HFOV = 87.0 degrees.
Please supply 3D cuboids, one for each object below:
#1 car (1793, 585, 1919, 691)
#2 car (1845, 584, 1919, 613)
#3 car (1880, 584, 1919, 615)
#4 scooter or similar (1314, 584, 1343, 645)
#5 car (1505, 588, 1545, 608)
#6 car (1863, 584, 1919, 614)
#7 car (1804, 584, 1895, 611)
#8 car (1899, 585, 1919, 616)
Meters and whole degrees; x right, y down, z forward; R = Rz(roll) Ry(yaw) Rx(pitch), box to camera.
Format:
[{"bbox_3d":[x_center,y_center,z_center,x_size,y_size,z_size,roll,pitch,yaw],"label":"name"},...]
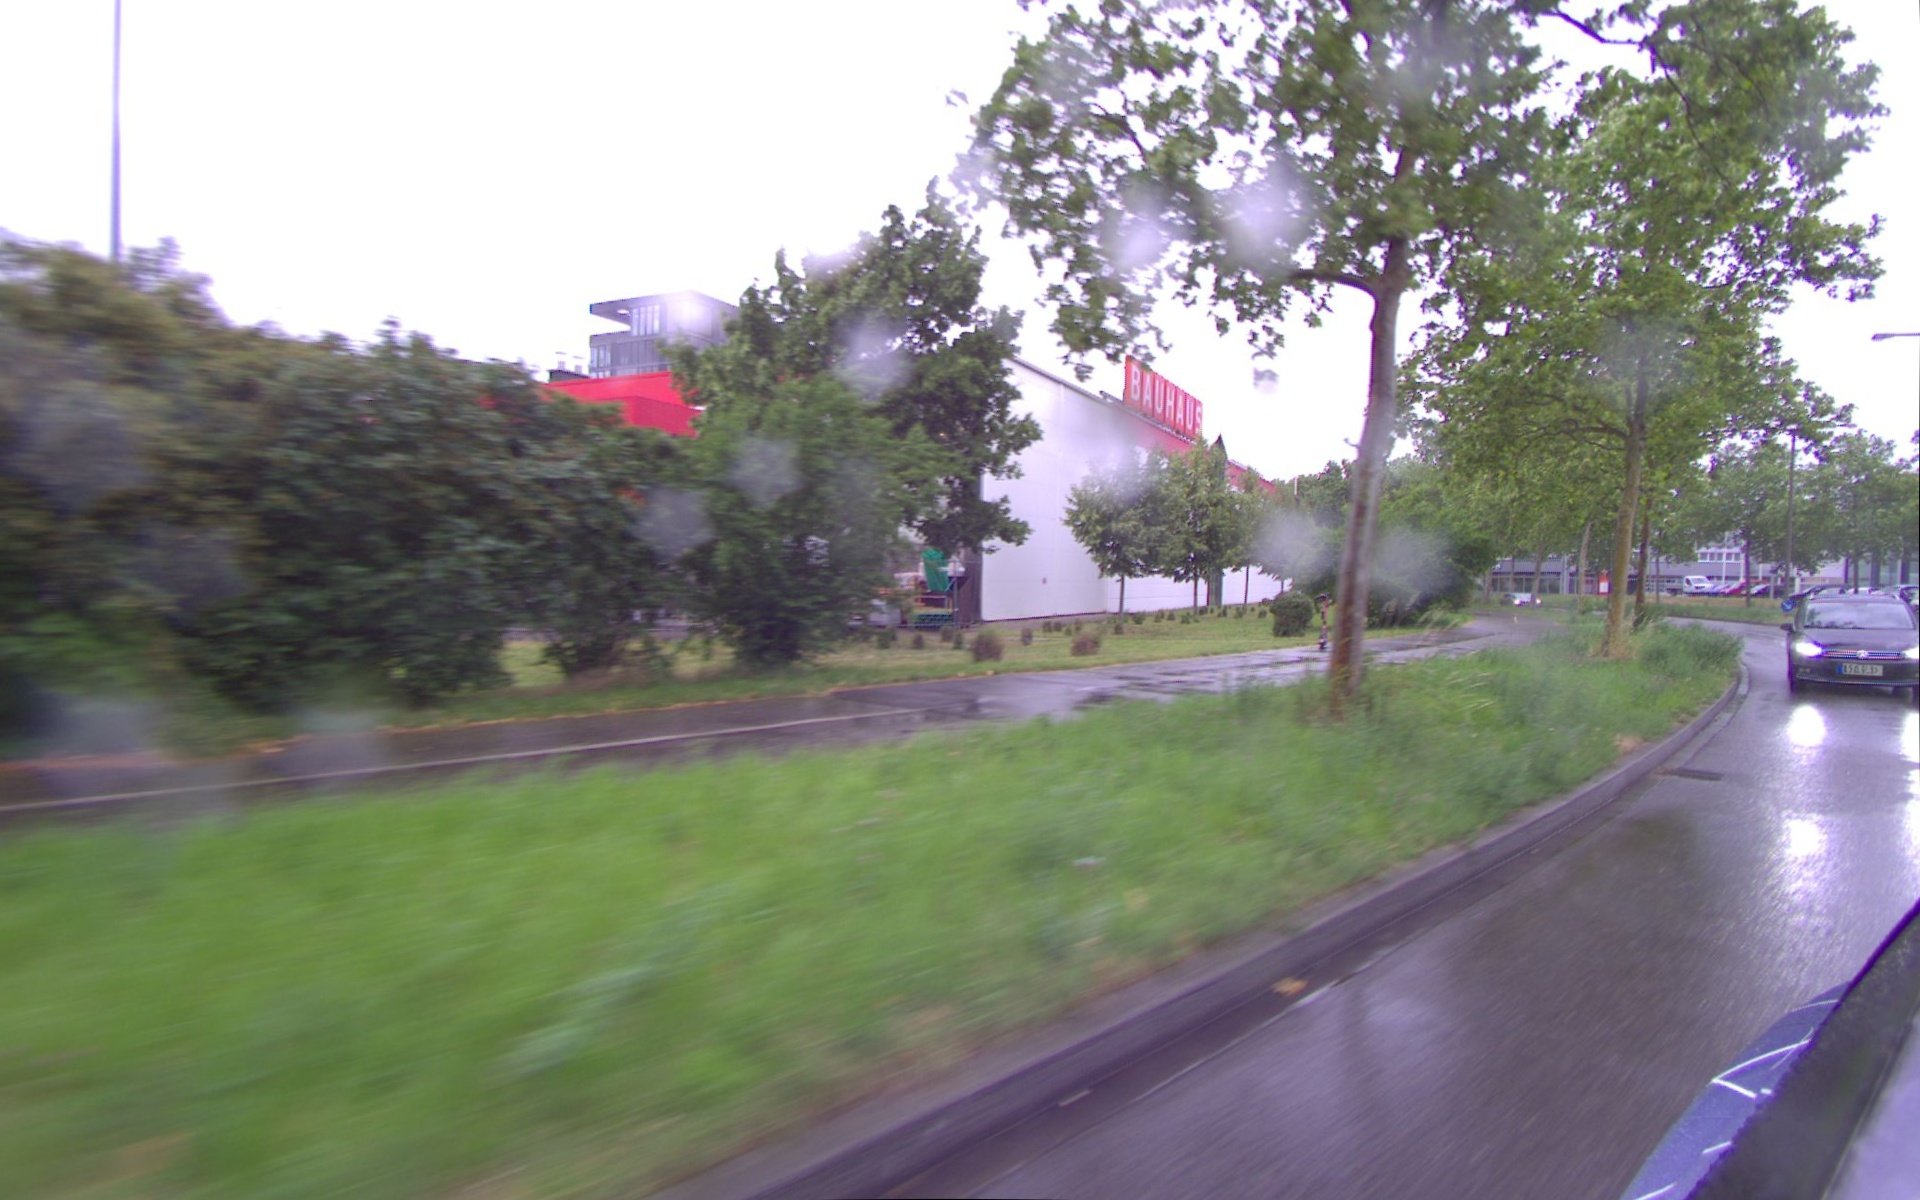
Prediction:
[{"bbox_3d":[15.823,0.579,17.703,1.780,1.635,4.652,-1,0,38],"label":"car"},{"bbox_3d":[55.822,-0.096,60.490,3.938,1.681,1.858,0,0,12],"label":"car"},{"bbox_3d":[54.195,-0.030,56.352,3.938,1.681,1.858,0,0,12],"label":"car"},{"bbox_3d":[8.225,0.301,22.544,0.446,1.290,1.587,1,1,25],"label":"scooter or similar"},{"bbox_3d":[49.813,-0.217,89.342,1.969,1.671,3.985,1,1,12],"label":"car"},{"bbox_3d":[55.034,-0.063,58.365,3.938,1.681,1.858,0,0,12],"label":"car"},{"bbox_3d":[56.794,-0.156,64.700,3.938,1.681,1.858,0,0,12],"label":"car"},{"bbox_3d":[53.338,0.004,54.238,3.938,1.681,1.858,0,0,12],"label":"car"}]
